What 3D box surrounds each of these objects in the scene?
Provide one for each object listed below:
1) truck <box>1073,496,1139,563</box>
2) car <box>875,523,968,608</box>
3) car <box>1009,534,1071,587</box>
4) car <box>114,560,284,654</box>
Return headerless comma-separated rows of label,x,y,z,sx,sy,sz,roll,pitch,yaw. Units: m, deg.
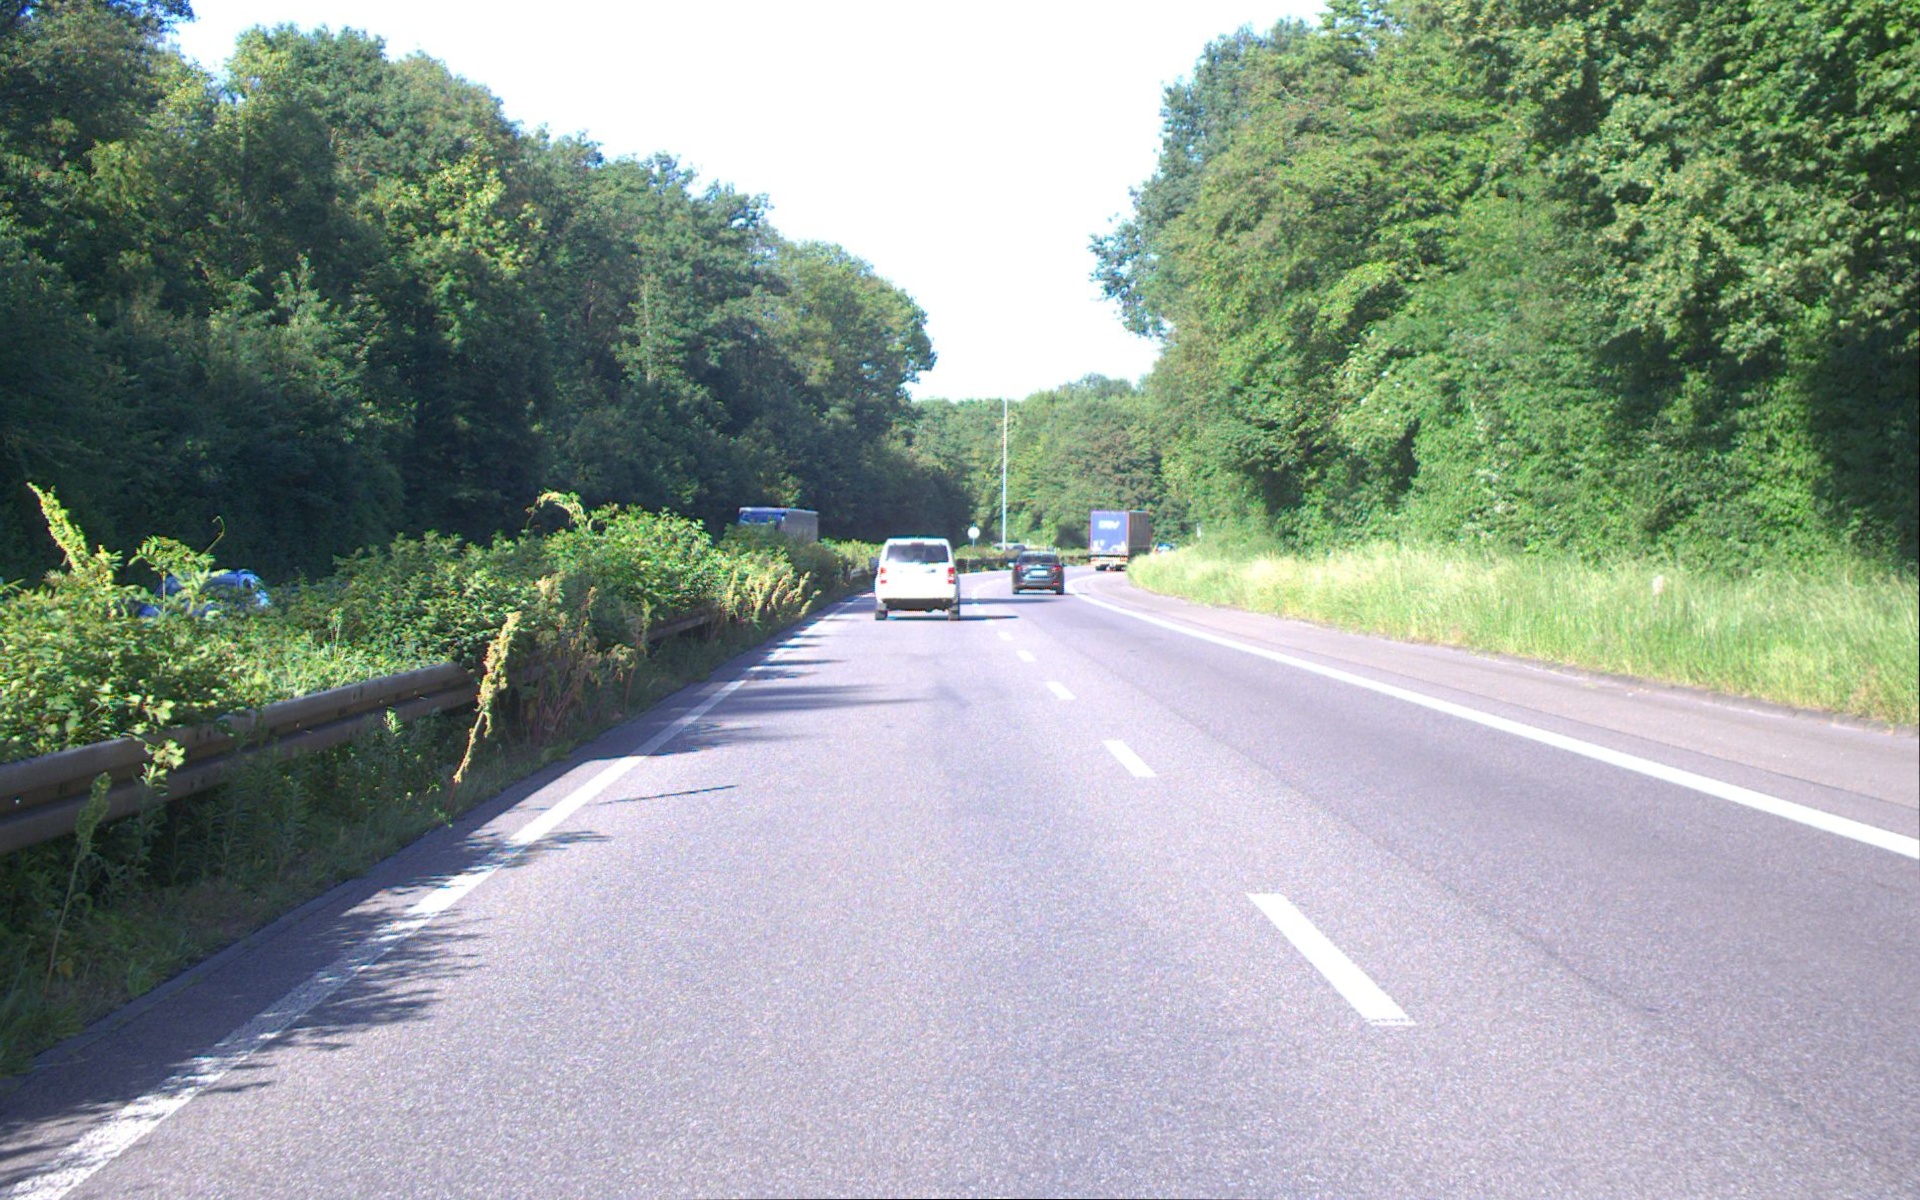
truck,9.929,-4.724,232.508,3.735,4.328,9.302,1,1,7
car,-0.861,-0.762,75.200,1.951,1.776,4.588,1,1,-1
car,2.773,-1.365,119.954,1.951,1.776,4.588,1,1,-1
car,-12.568,0.088,57.013,1.993,1.444,4.340,-1,1,-2
